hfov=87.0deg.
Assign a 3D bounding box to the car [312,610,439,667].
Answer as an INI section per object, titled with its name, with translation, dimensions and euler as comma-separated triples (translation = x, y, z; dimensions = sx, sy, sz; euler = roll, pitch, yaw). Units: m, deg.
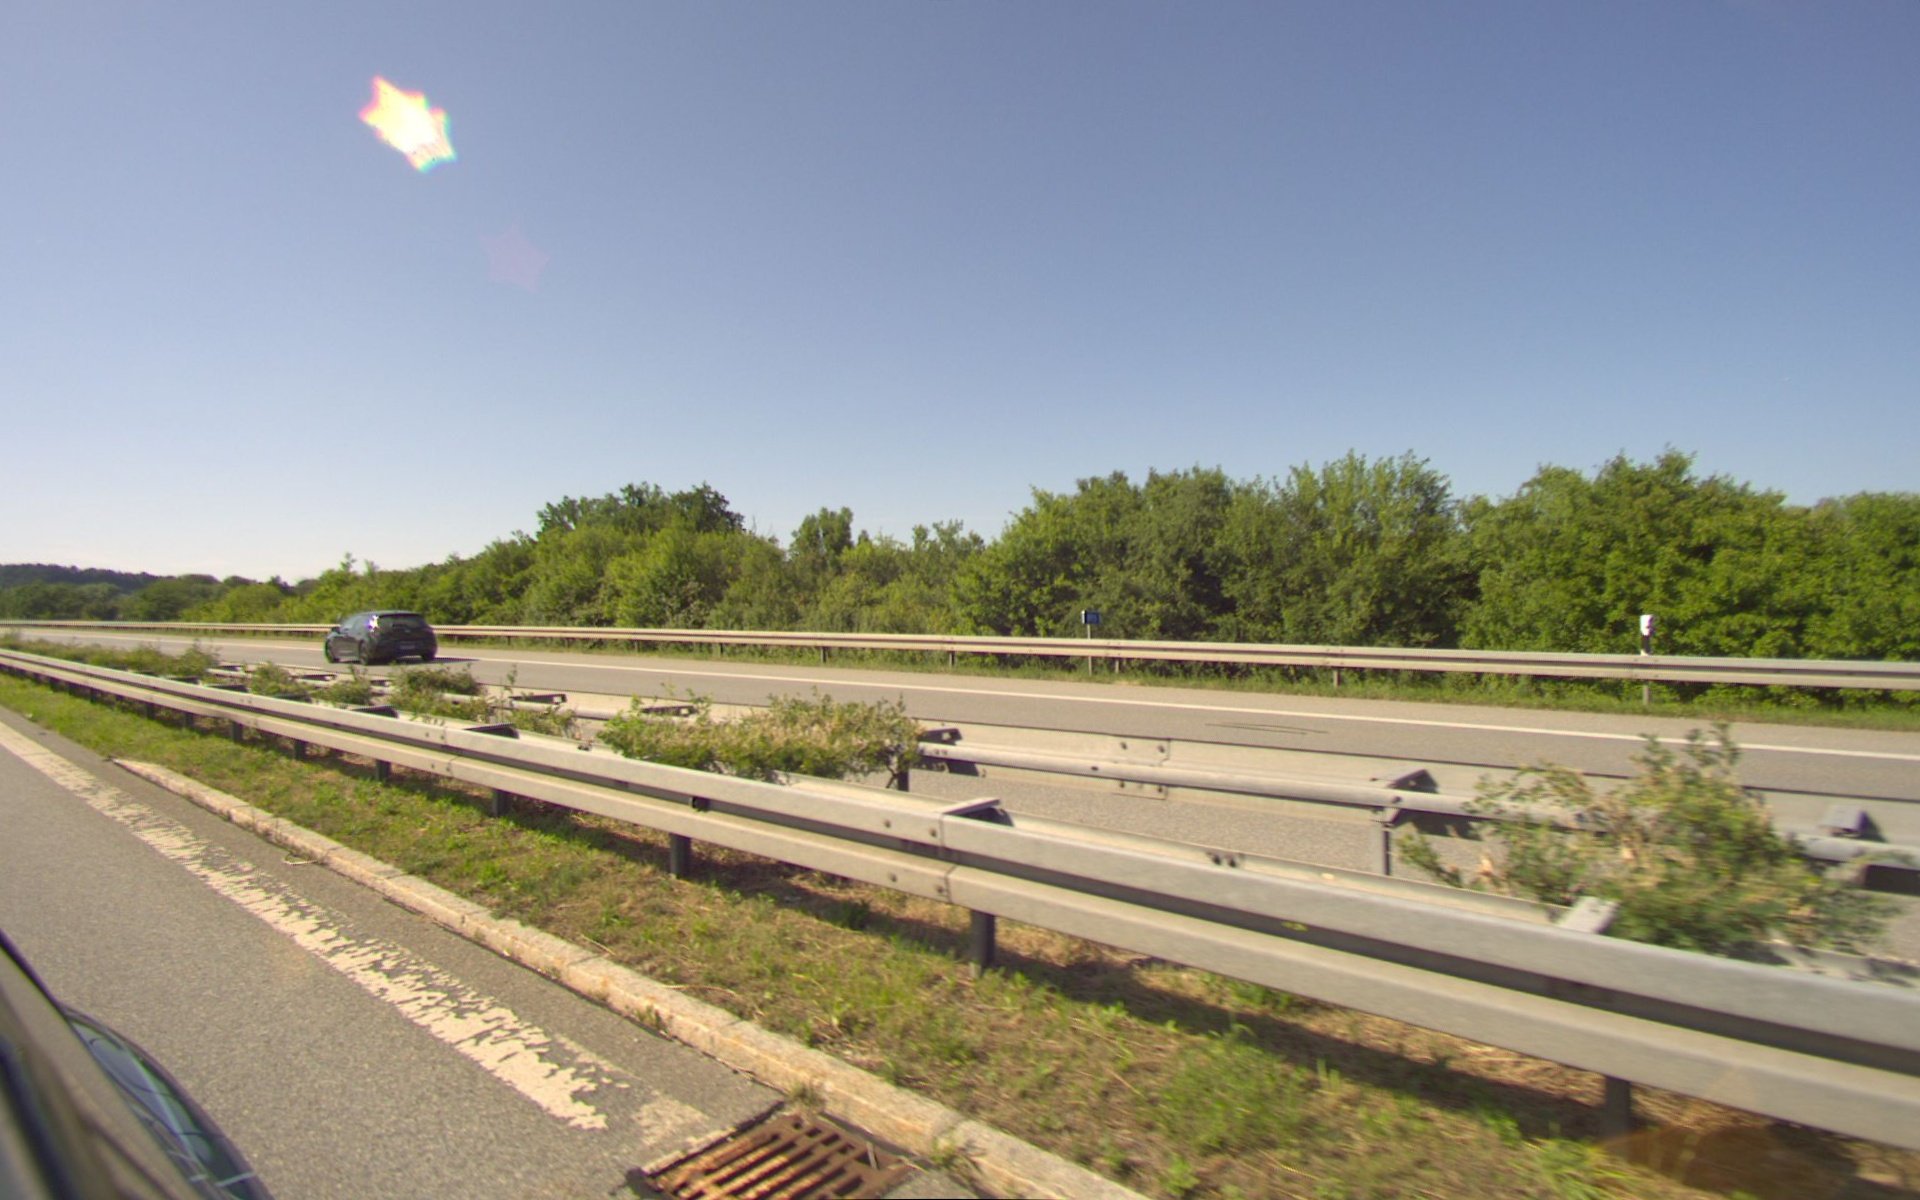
[car]
translation = -16.438, 1.032, 28.351
dimensions = 4.766, 1.456, 1.720
euler = -1, -1, 42
